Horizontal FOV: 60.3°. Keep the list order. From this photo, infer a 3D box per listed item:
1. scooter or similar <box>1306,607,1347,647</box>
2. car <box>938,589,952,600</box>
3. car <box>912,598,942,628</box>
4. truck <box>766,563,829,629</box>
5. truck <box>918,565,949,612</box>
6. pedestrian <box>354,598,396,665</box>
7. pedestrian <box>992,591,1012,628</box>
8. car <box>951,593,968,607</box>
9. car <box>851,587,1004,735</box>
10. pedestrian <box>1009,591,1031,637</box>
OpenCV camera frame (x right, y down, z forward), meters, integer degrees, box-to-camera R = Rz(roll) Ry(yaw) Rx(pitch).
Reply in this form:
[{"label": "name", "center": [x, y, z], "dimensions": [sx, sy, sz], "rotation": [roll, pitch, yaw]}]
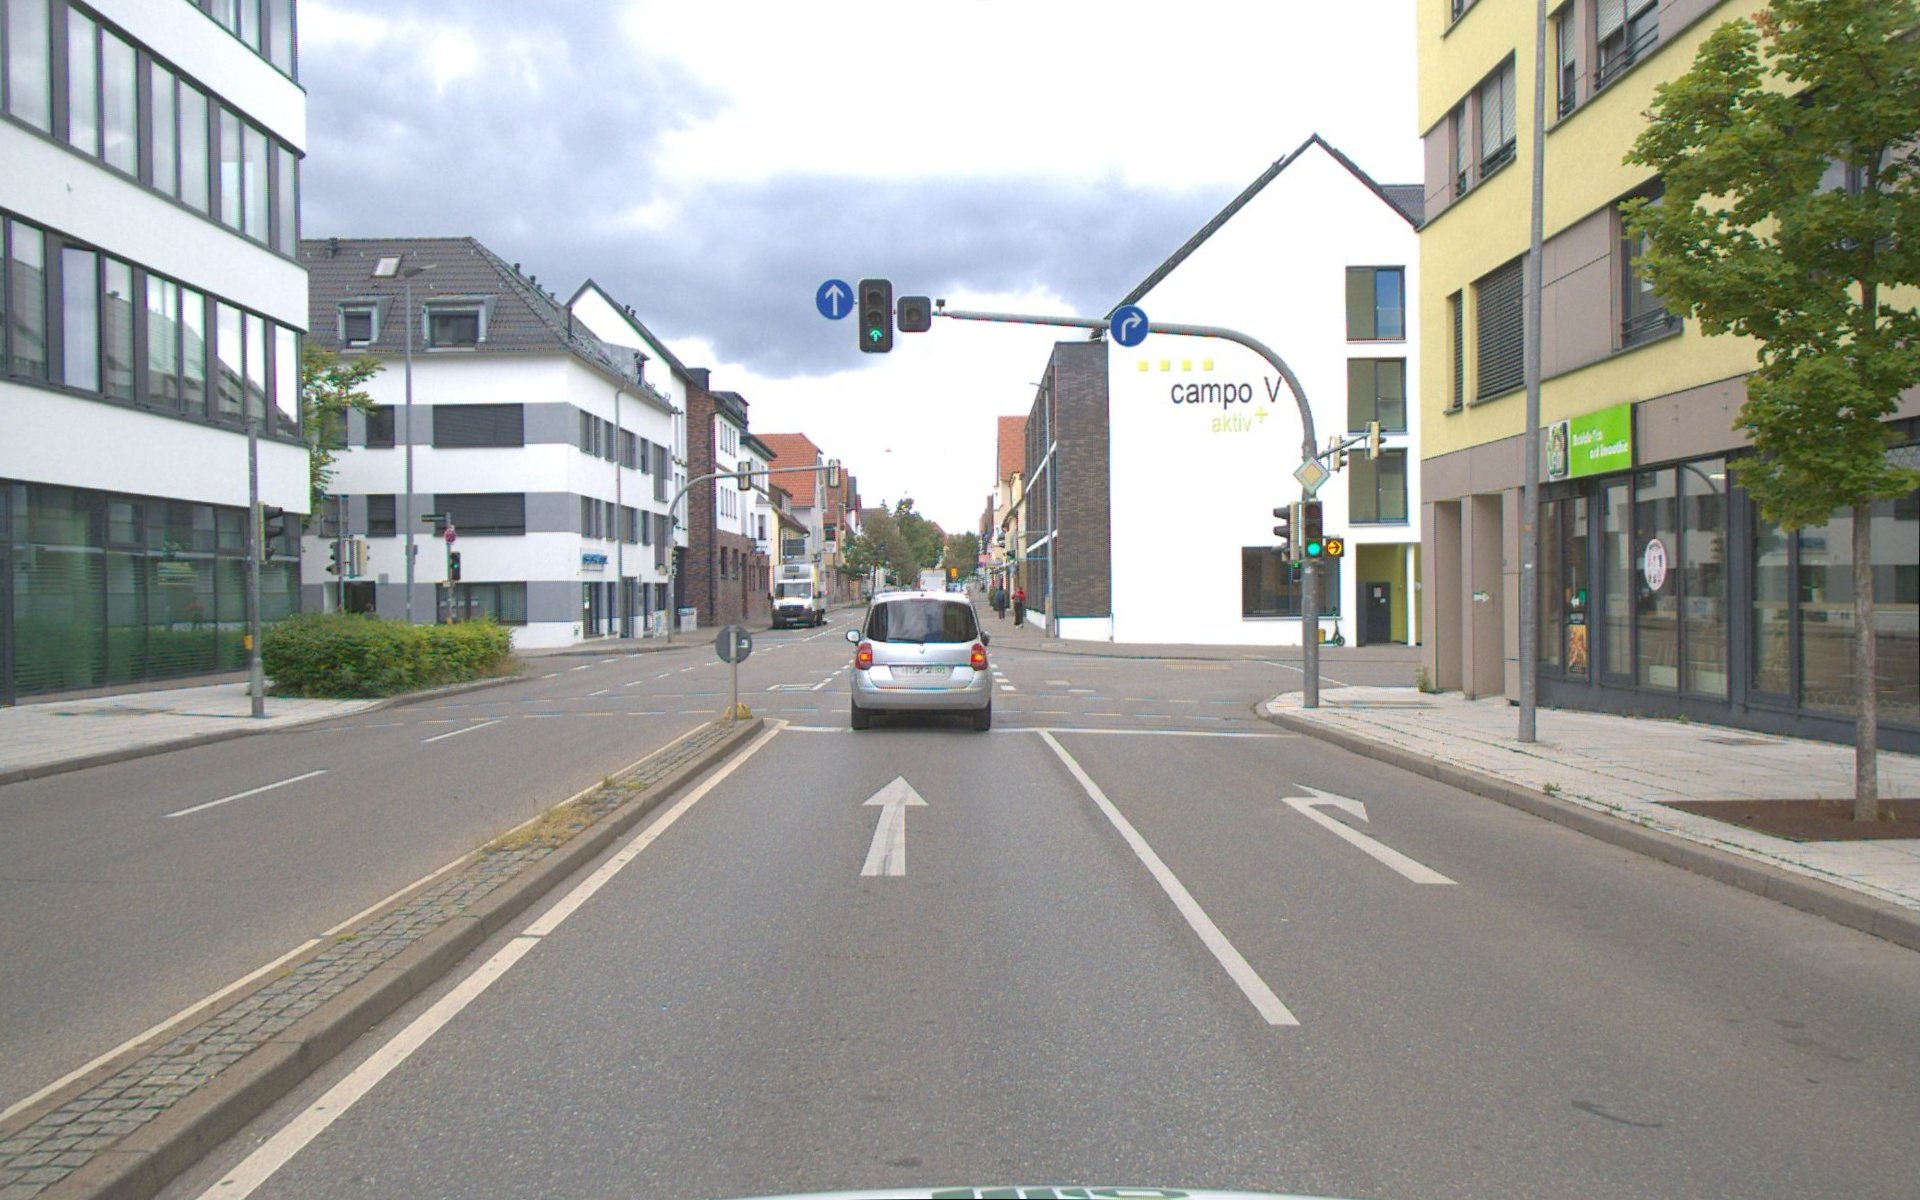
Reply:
[{"label": "scooter or similar", "center": [11.802, 0.879, 53.320], "dimensions": [1.205, 1.257, 0.406], "rotation": [1, 0, 0]}, {"label": "car", "center": [-2.033, -0.717, 222.286], "dimensions": [1.775, 1.378, 4.000], "rotation": [-1, 1, 0]}, {"label": "car", "center": [-1.893, 0.725, 95.187], "dimensions": [1.672, 1.606, 3.999], "rotation": [1, 0, -1]}, {"label": "truck", "center": [-7.782, -0.226, 80.051], "dimensions": [2.385, 3.005, 8.363], "rotation": [0, 0, -1]}, {"label": "truck", "center": [-2.293, -1.016, 142.870], "dimensions": [2.543, 3.925, 6.847], "rotation": [0, 0, -1]}, {"label": "pedestrian", "center": [-15.666, 0.826, 44.288], "dimensions": [0.873, 1.698, 0.805], "rotation": [-2, 3, -31]}, {"label": "pedestrian", "center": [2.109, 0.466, 83.458], "dimensions": [0.871, 1.818, 0.785], "rotation": [-3, 0, 0]}, {"label": "car", "center": [-0.042, 0.009, 180.284], "dimensions": [1.775, 1.378, 4.000], "rotation": [-1, 1, 0]}, {"label": "car", "center": [-0.391, 0.662, 20.378], "dimensions": [1.672, 1.606, 3.999], "rotation": [1, 0, -1]}, {"label": "pedestrian", "center": [2.466, 0.569, 68.091], "dimensions": [0.791, 1.818, 0.861], "rotation": [-3, 0, 0]}]
